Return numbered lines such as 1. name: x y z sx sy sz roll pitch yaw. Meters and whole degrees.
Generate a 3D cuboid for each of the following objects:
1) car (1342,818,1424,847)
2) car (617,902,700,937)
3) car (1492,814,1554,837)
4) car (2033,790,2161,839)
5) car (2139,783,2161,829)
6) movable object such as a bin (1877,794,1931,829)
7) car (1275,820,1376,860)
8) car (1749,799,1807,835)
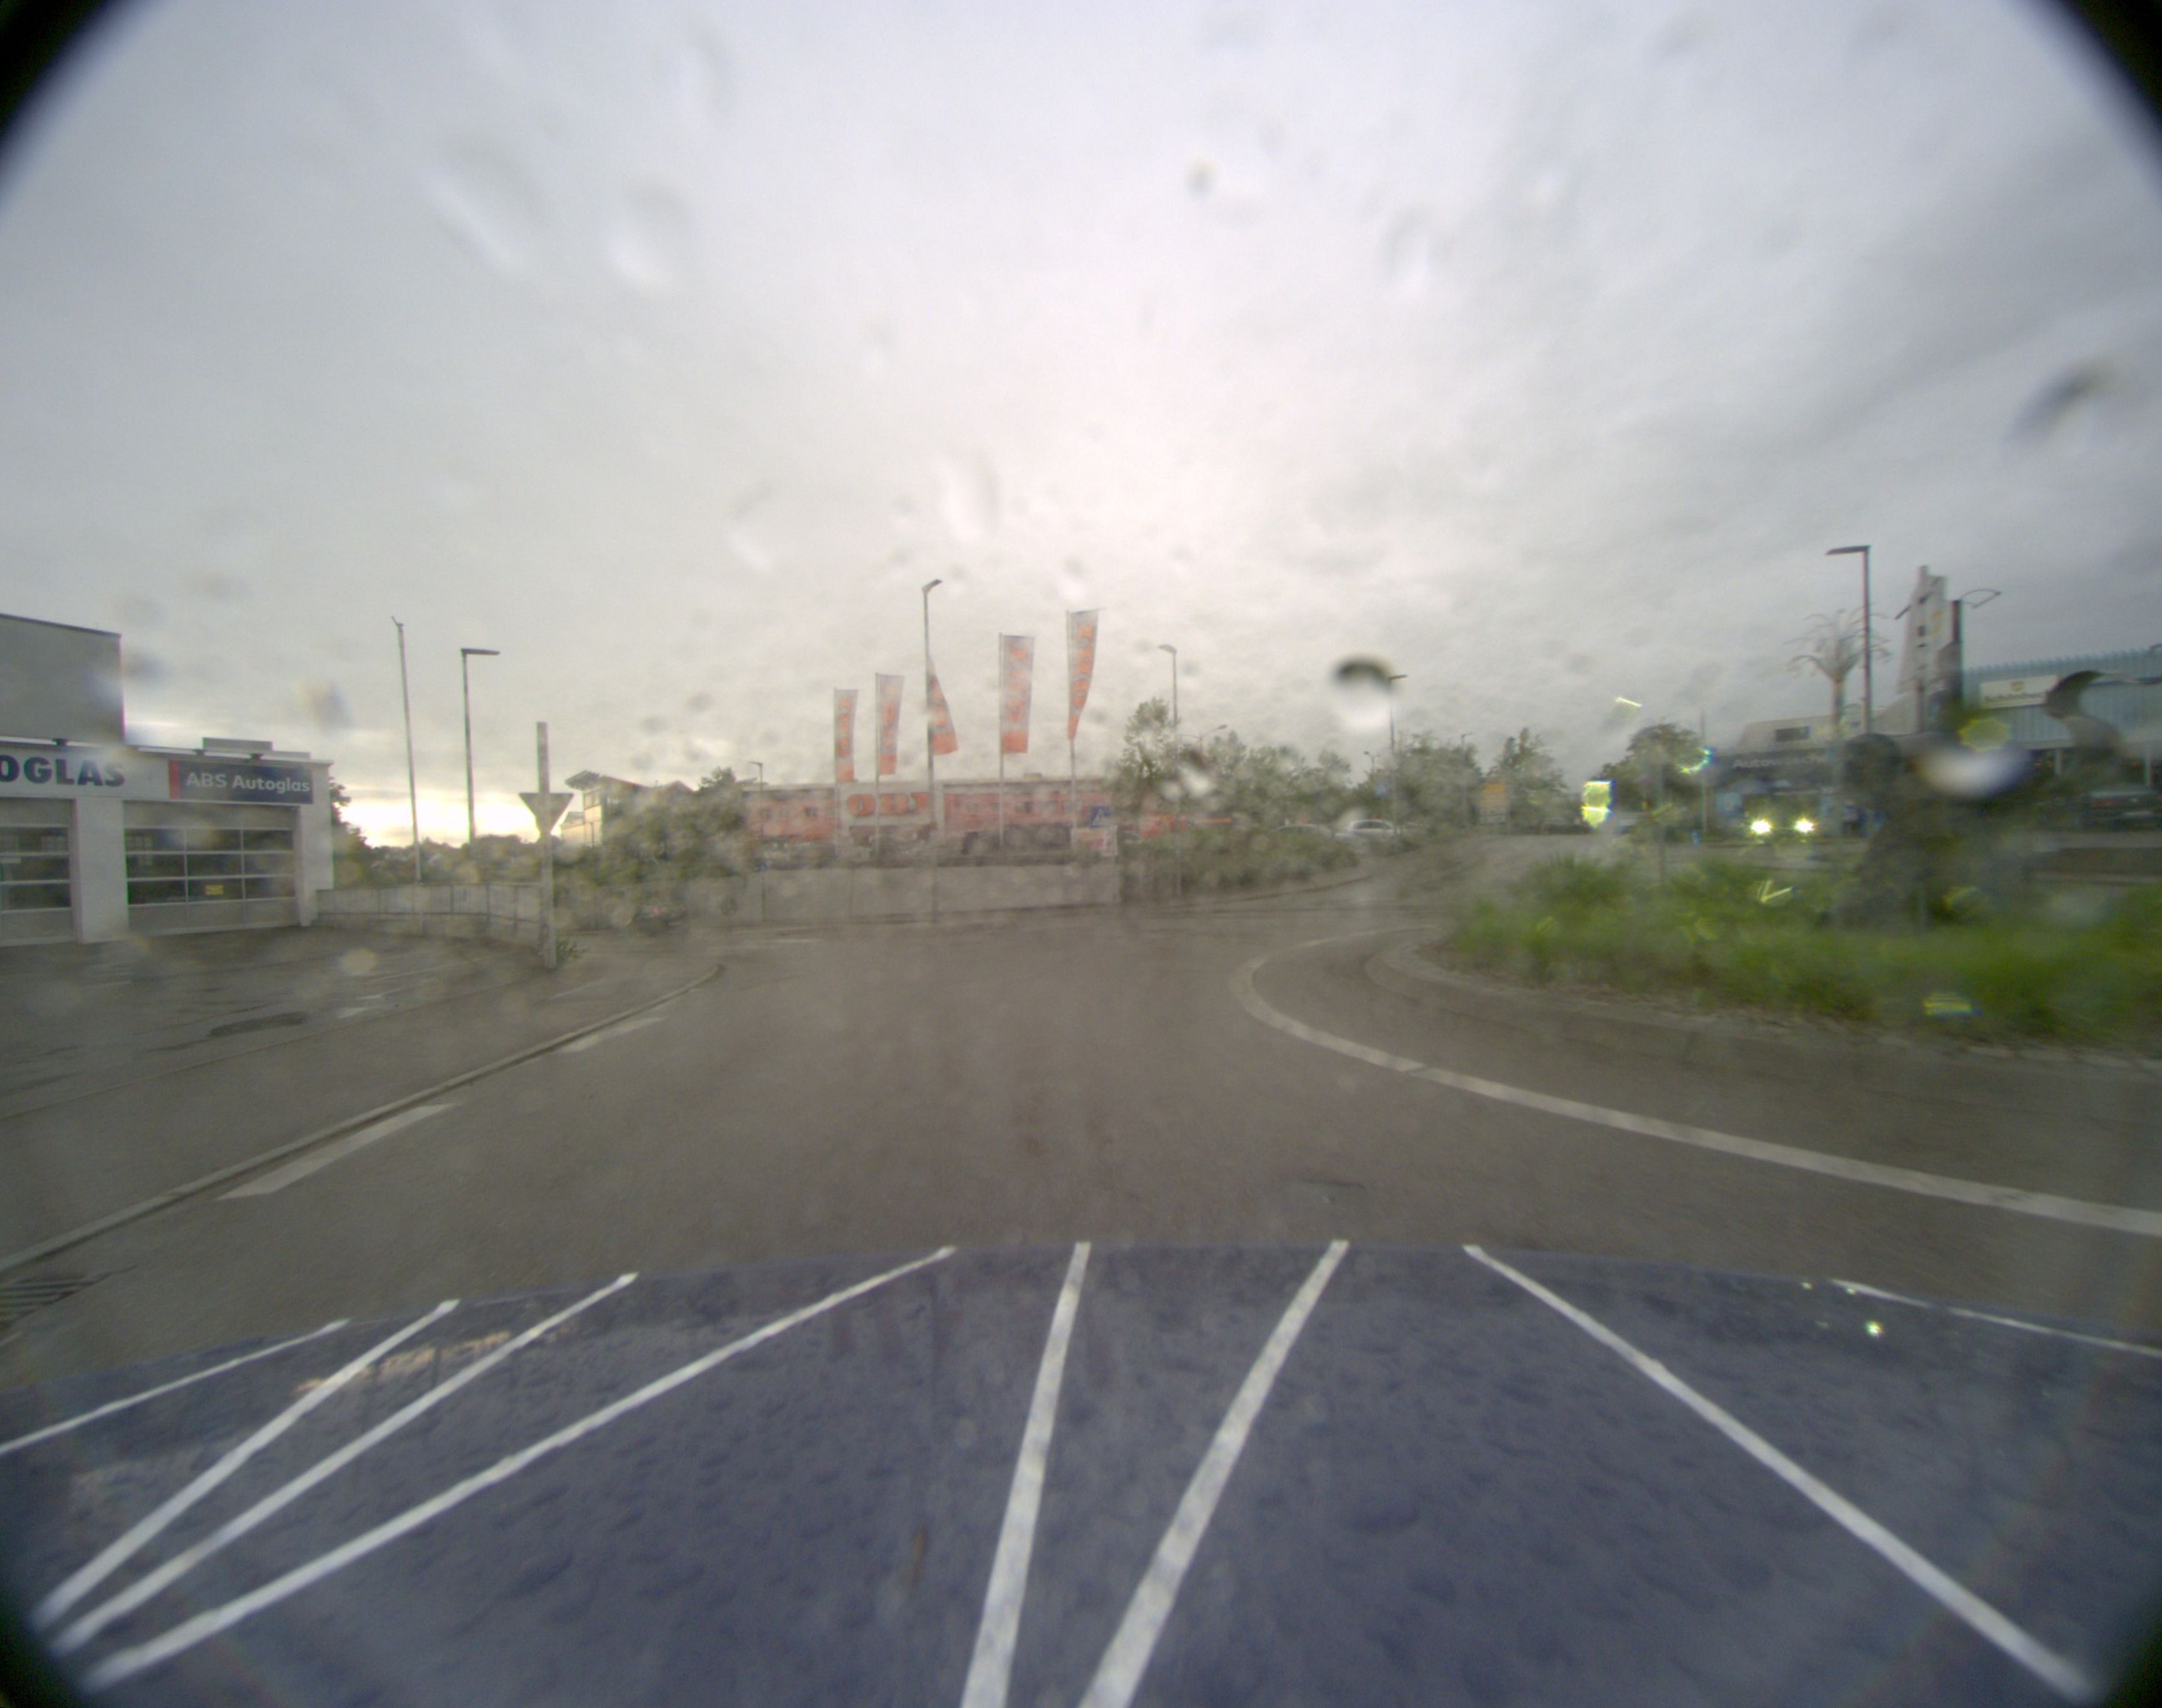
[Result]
1. car: 17.696 -1.246 44.591 3.989 1.433 2.004 -3 0 41
2. car: -20.170 3.055 36.151 5.329 1.374 2.004 -3 0 45
3. car: 35.767 -2.256 61.519 3.989 1.586 2.004 -3 0 41
4. car: 32.913 -1.261 24.528 1.883 1.287 4.007 -6 -1 40
5. car: 35.095 -1.593 23.415 1.883 1.477 4.007 -6 -1 40
6. movable object such as a bin: 33.208 -1.709 30.701 1.212 1.288 1.481 -6 -1 40
7. car: 11.699 -0.635 36.462 4.095 1.696 2.004 -3 0 44
8. car: 34.208 -1.791 37.322 1.916 1.521 4.008 -5 -1 42
